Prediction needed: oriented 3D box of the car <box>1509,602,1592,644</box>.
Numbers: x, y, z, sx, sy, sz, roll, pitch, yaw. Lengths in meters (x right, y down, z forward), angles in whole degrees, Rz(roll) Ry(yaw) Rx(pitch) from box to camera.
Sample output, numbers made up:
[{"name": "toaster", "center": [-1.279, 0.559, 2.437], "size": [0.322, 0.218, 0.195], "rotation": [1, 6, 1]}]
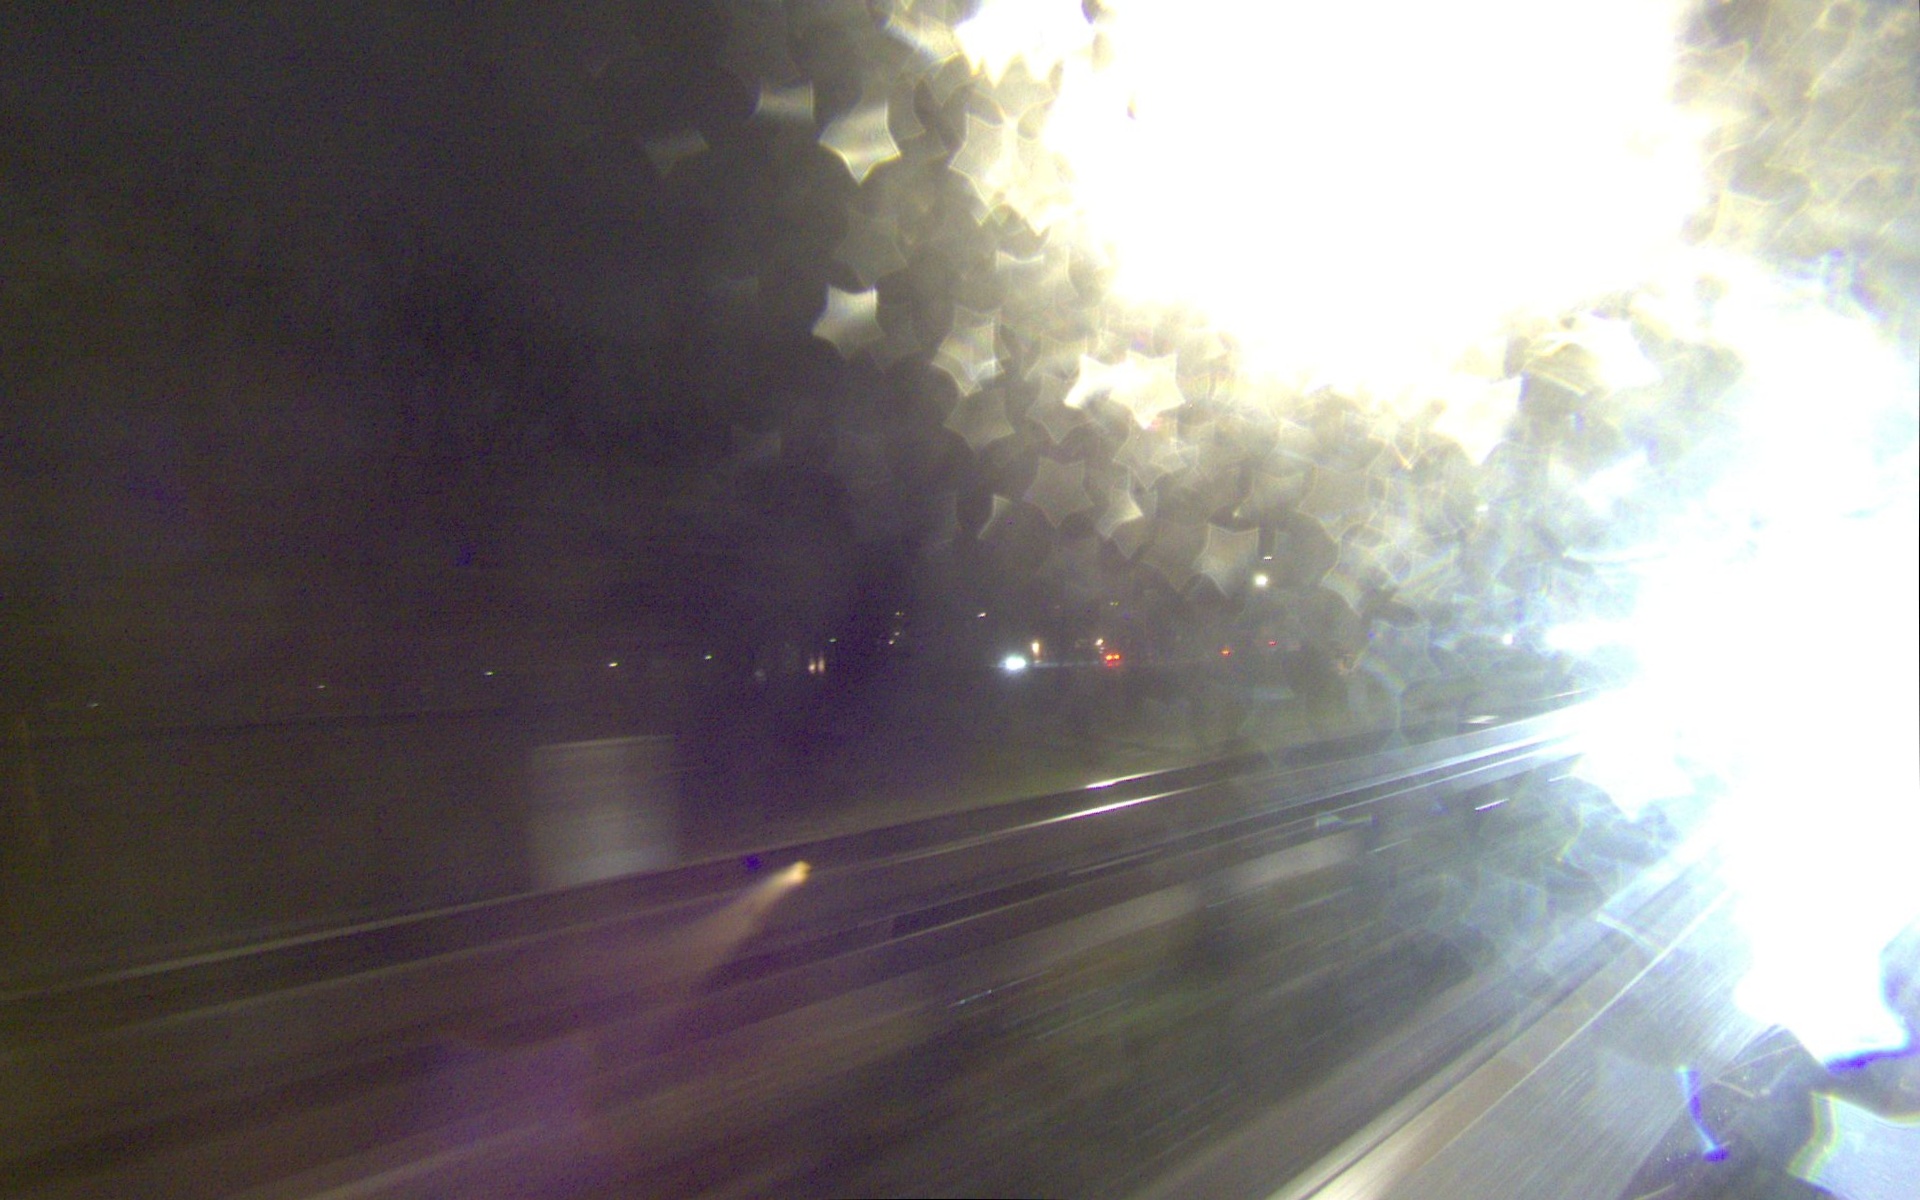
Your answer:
[{"name": "car", "center": [33.425, 1.329, 57.406], "size": [1.728, 2.040, 4.003], "rotation": [-5, -3, -9]}]

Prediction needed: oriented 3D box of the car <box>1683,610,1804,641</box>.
[{"name": "car", "center": [38.373, 1.208, 49.731], "size": [1.959, 1.427, 4.553], "rotation": [0, 0, -10]}]

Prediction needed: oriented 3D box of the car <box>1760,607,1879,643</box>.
[{"name": "car", "center": [42.372, 1.179, 50.012], "size": [1.958, 1.661, 4.126], "rotation": [0, 0, -13]}]

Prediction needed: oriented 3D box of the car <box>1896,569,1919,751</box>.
[{"name": "car", "center": [11.218, 0.581, 10.541], "size": [4.168, 1.736, 1.924], "rotation": [0, 1, -44]}]

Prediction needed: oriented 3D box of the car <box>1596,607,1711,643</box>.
[{"name": "car", "center": [34.692, 1.212, 50.823], "size": [1.959, 1.661, 4.790], "rotation": [0, 0, -10]}]
